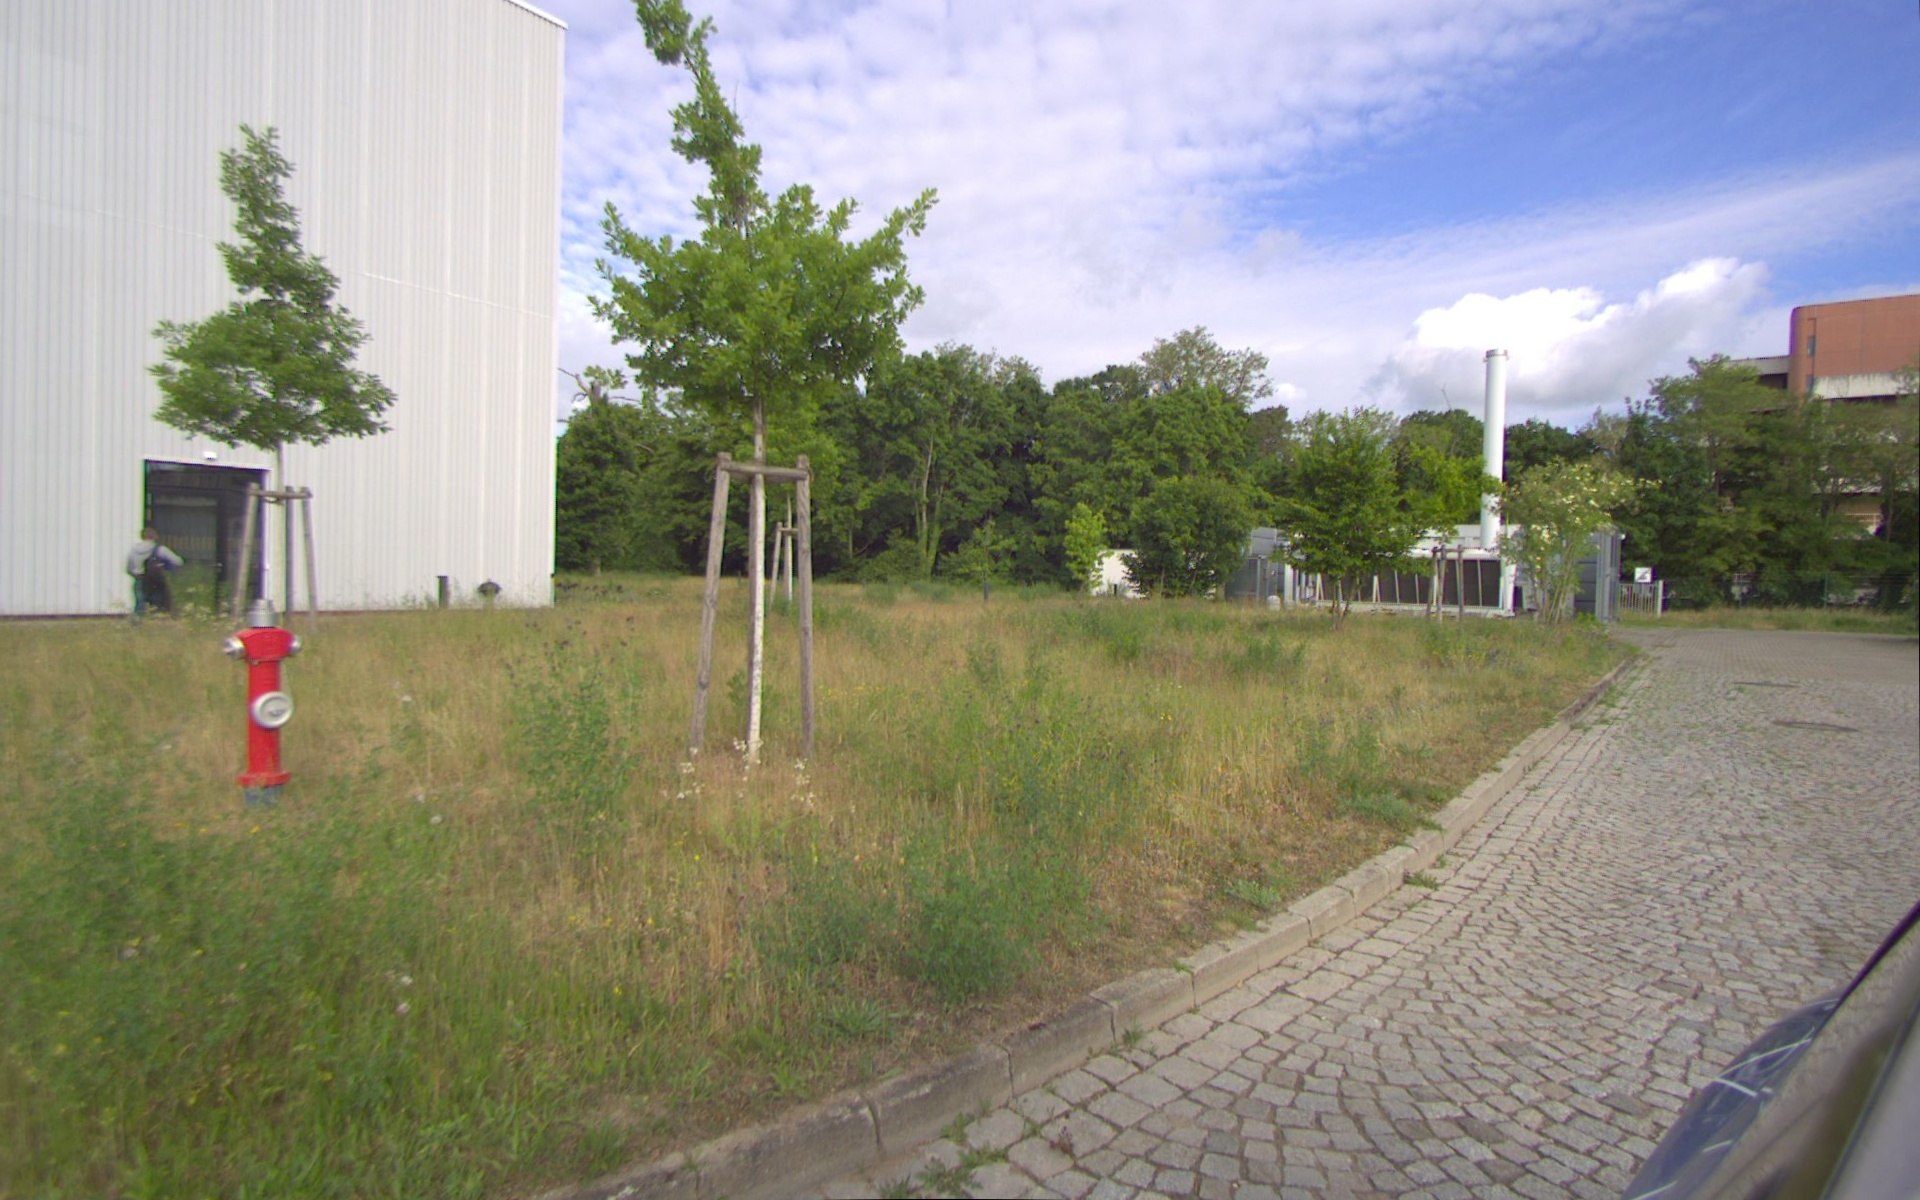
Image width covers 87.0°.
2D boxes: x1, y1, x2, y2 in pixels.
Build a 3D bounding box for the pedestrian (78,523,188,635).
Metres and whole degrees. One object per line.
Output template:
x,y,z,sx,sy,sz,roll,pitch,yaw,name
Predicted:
-12.176,-0.314,14.945,1.053,1.575,1.081,1,2,-28,pedestrian
